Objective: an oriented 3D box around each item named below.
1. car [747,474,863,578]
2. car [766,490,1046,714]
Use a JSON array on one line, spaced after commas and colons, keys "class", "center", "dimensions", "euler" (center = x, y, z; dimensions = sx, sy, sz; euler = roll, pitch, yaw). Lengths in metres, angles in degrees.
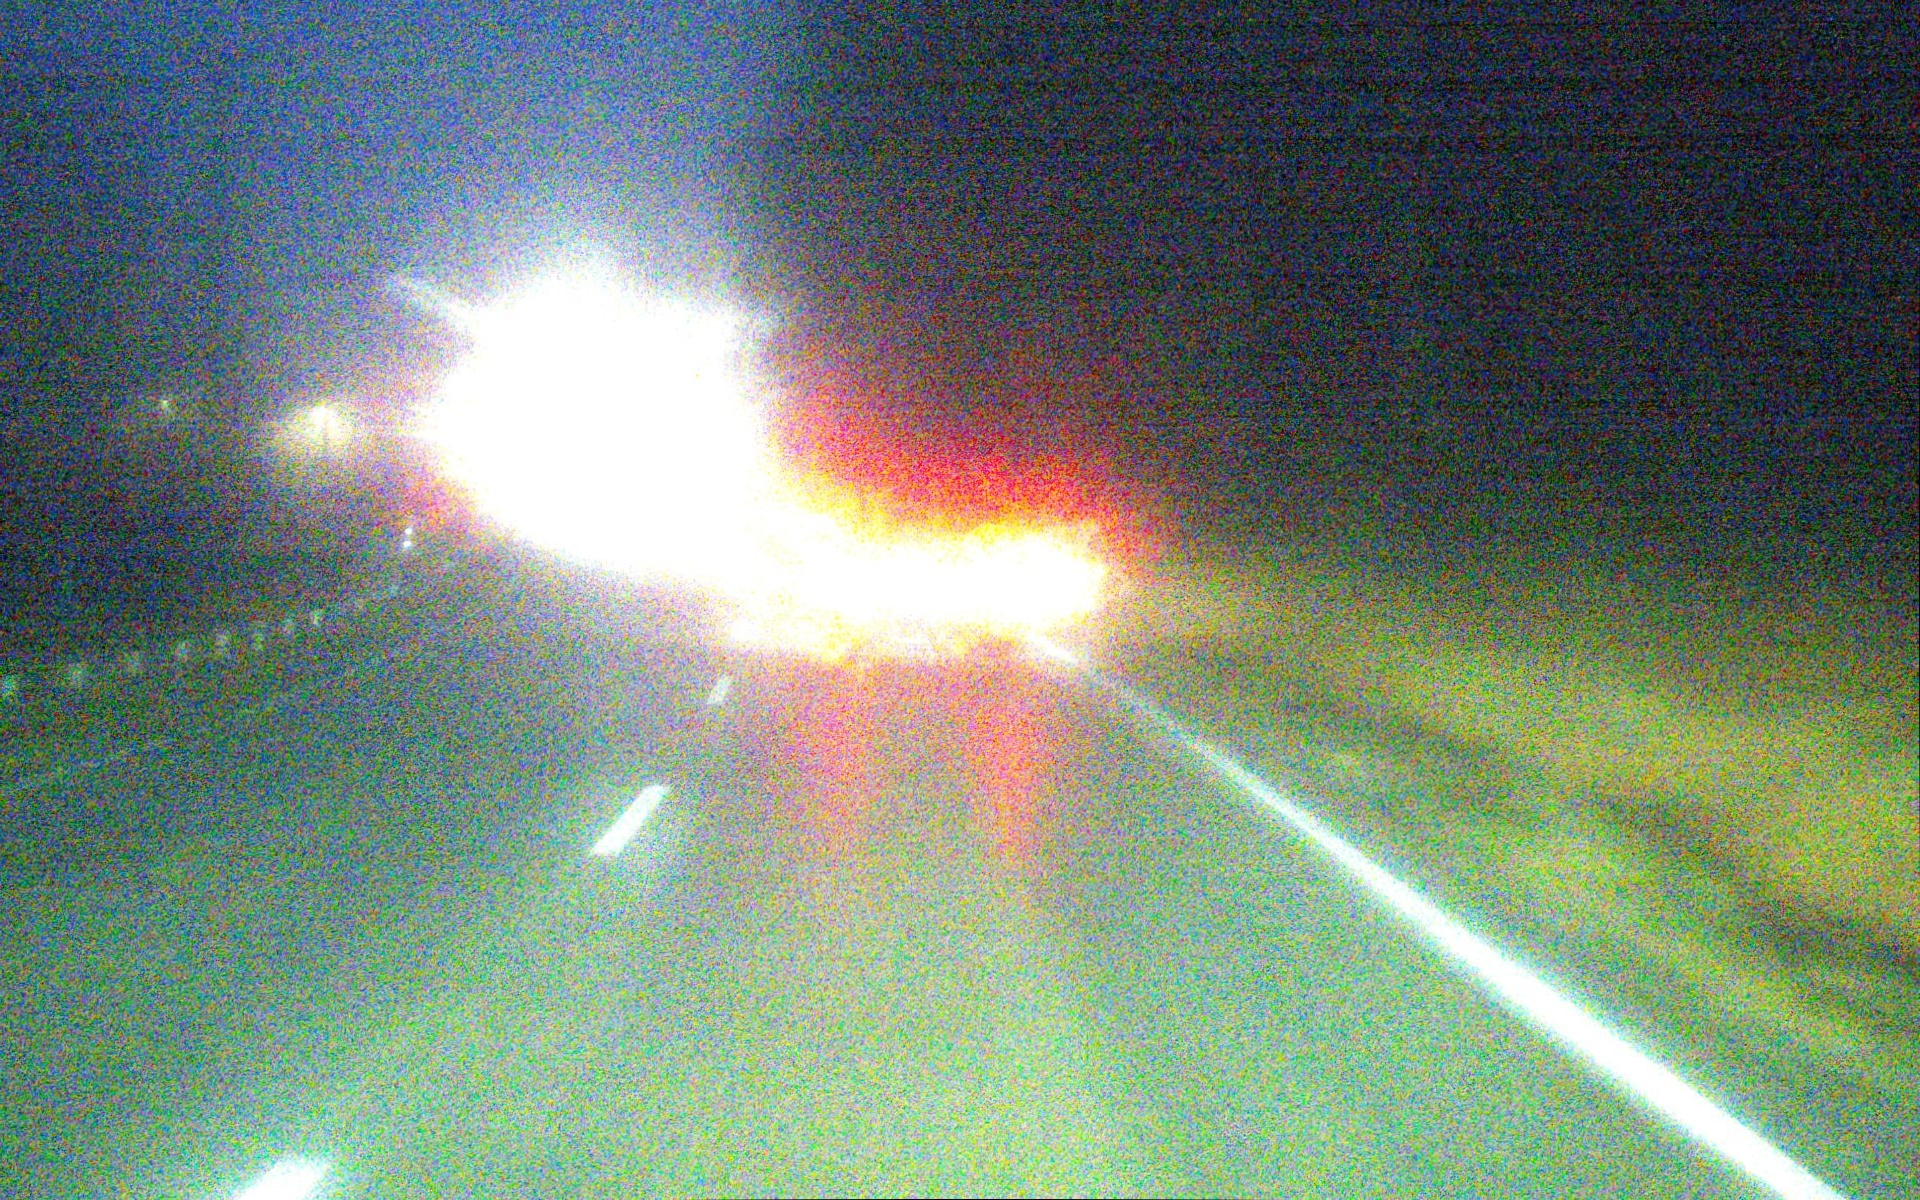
[{"class": "car", "center": [-3.253, -1.564, 71.383], "dimensions": [1.993, 2.006, 4.001], "euler": [3, 2, -7]}, {"class": "car", "center": [-0.489, -0.021, 33.100], "dimensions": [2.457, 1.952, 4.912], "euler": [1, 1, 0]}]
